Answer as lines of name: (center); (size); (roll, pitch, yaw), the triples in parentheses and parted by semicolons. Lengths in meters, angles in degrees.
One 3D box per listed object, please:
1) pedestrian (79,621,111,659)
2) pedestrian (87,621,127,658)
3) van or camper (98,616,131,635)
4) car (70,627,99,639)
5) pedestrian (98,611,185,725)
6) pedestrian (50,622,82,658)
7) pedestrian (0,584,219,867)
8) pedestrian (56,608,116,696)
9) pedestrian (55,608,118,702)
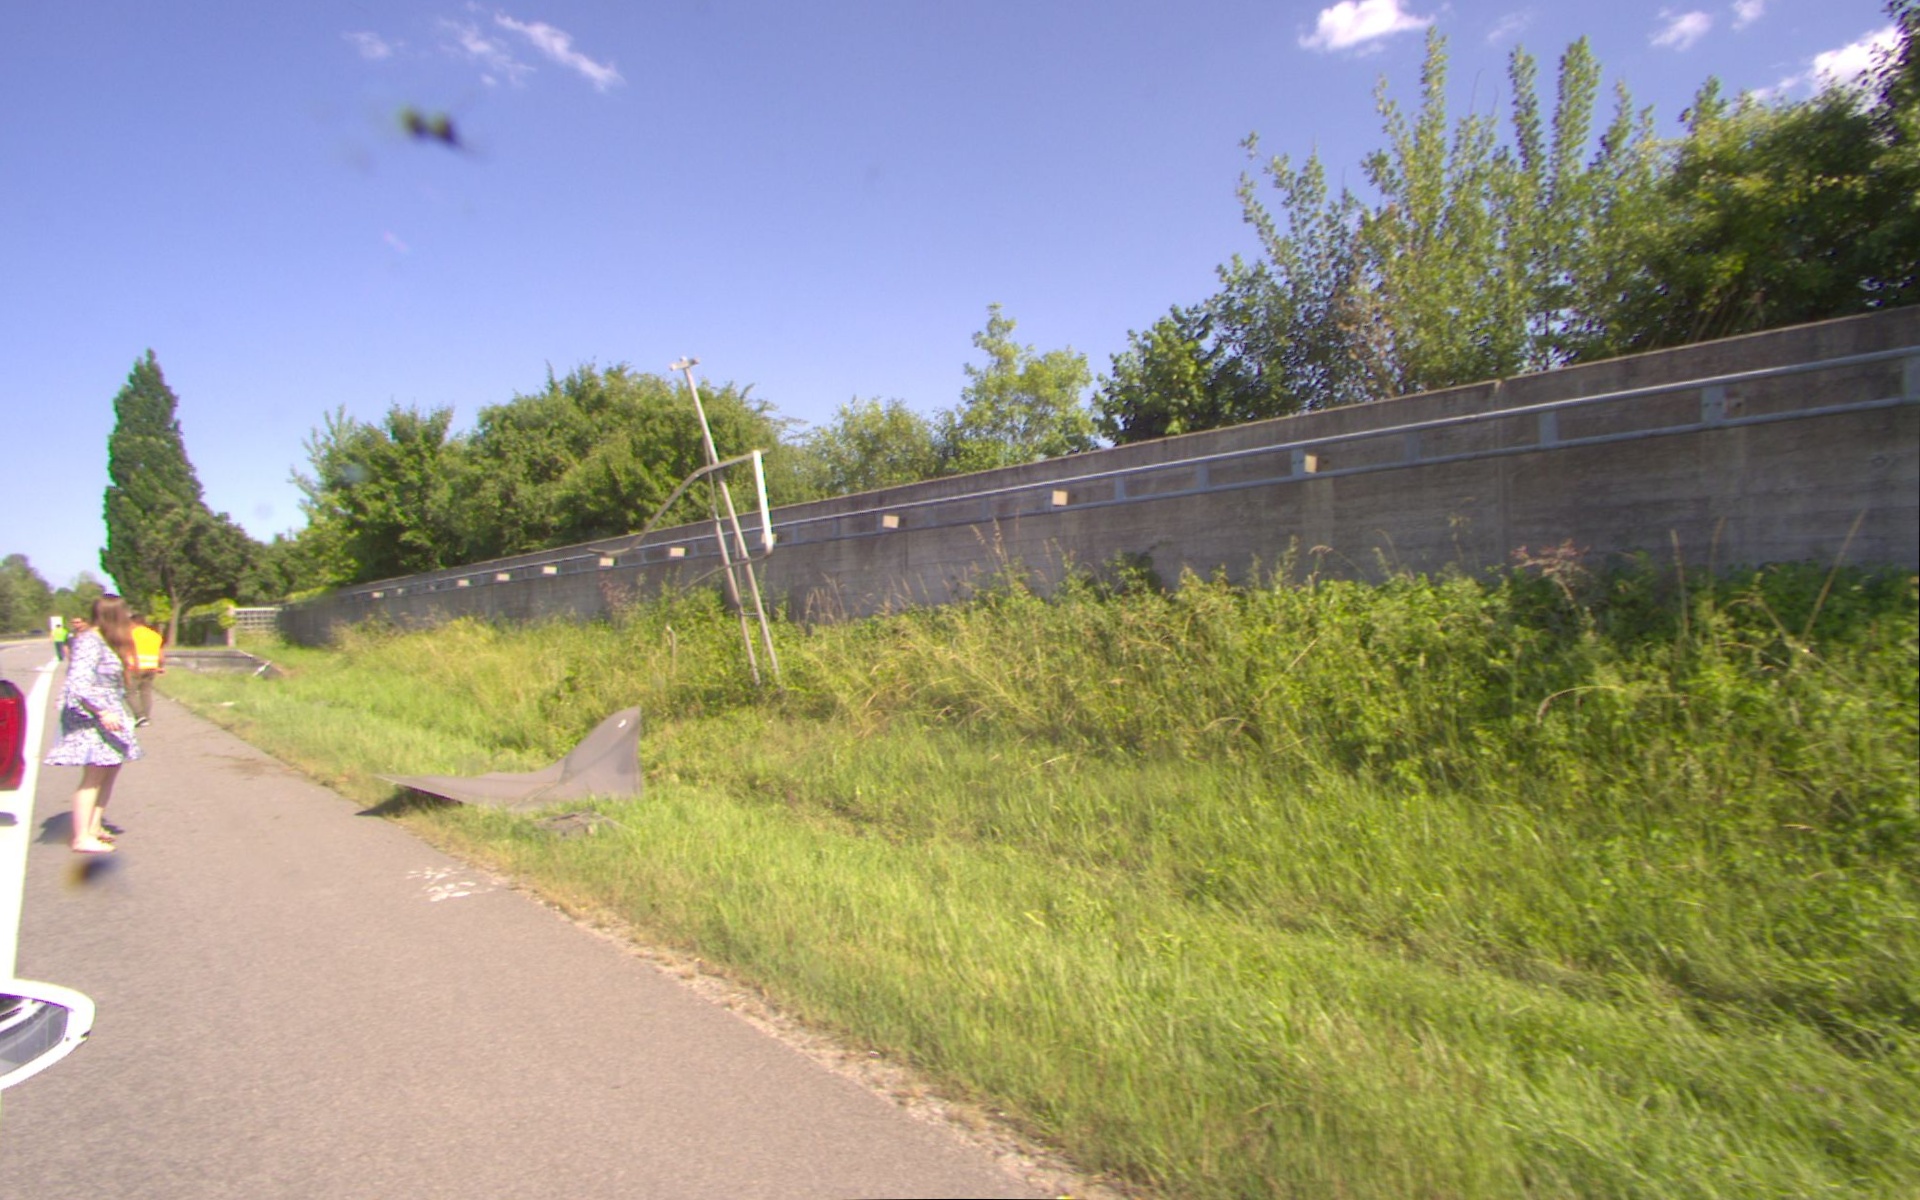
pedestrian: (-40.564, 1.872, 46.982); (1.106, 1.711, 0.964); (1, -2, -43)
pedestrian: (-39.739, 1.856, 46.669); (0.980, 1.711, 1.010); (0, -1, 12)
van or camper: (-103.710, 3.170, 122.915); (1.969, 2.345, 4.455); (0, -2, -25)
car: (-109.882, 4.126, 125.735); (1.711, 1.506, 4.194); (1, -1, -26)
pedestrian: (-12.788, 1.019, 15.633); (0.951, 1.675, 1.266); (-1, 0, -43)
pedestrian: (-43.737, 1.950, 48.981); (1.046, 1.711, 1.010); (1, -1, -36)
pedestrian: (-5.689, 0.762, 6.725); (1.114, 1.718, 0.886); (-1, 0, -37)
pedestrian: (-18.062, 1.066, 20.704); (0.818, 1.782, 0.808); (-1, -1, 39)
pedestrian: (-16.760, 1.046, 19.234); (0.888, 1.747, 0.748); (1, -1, -41)
